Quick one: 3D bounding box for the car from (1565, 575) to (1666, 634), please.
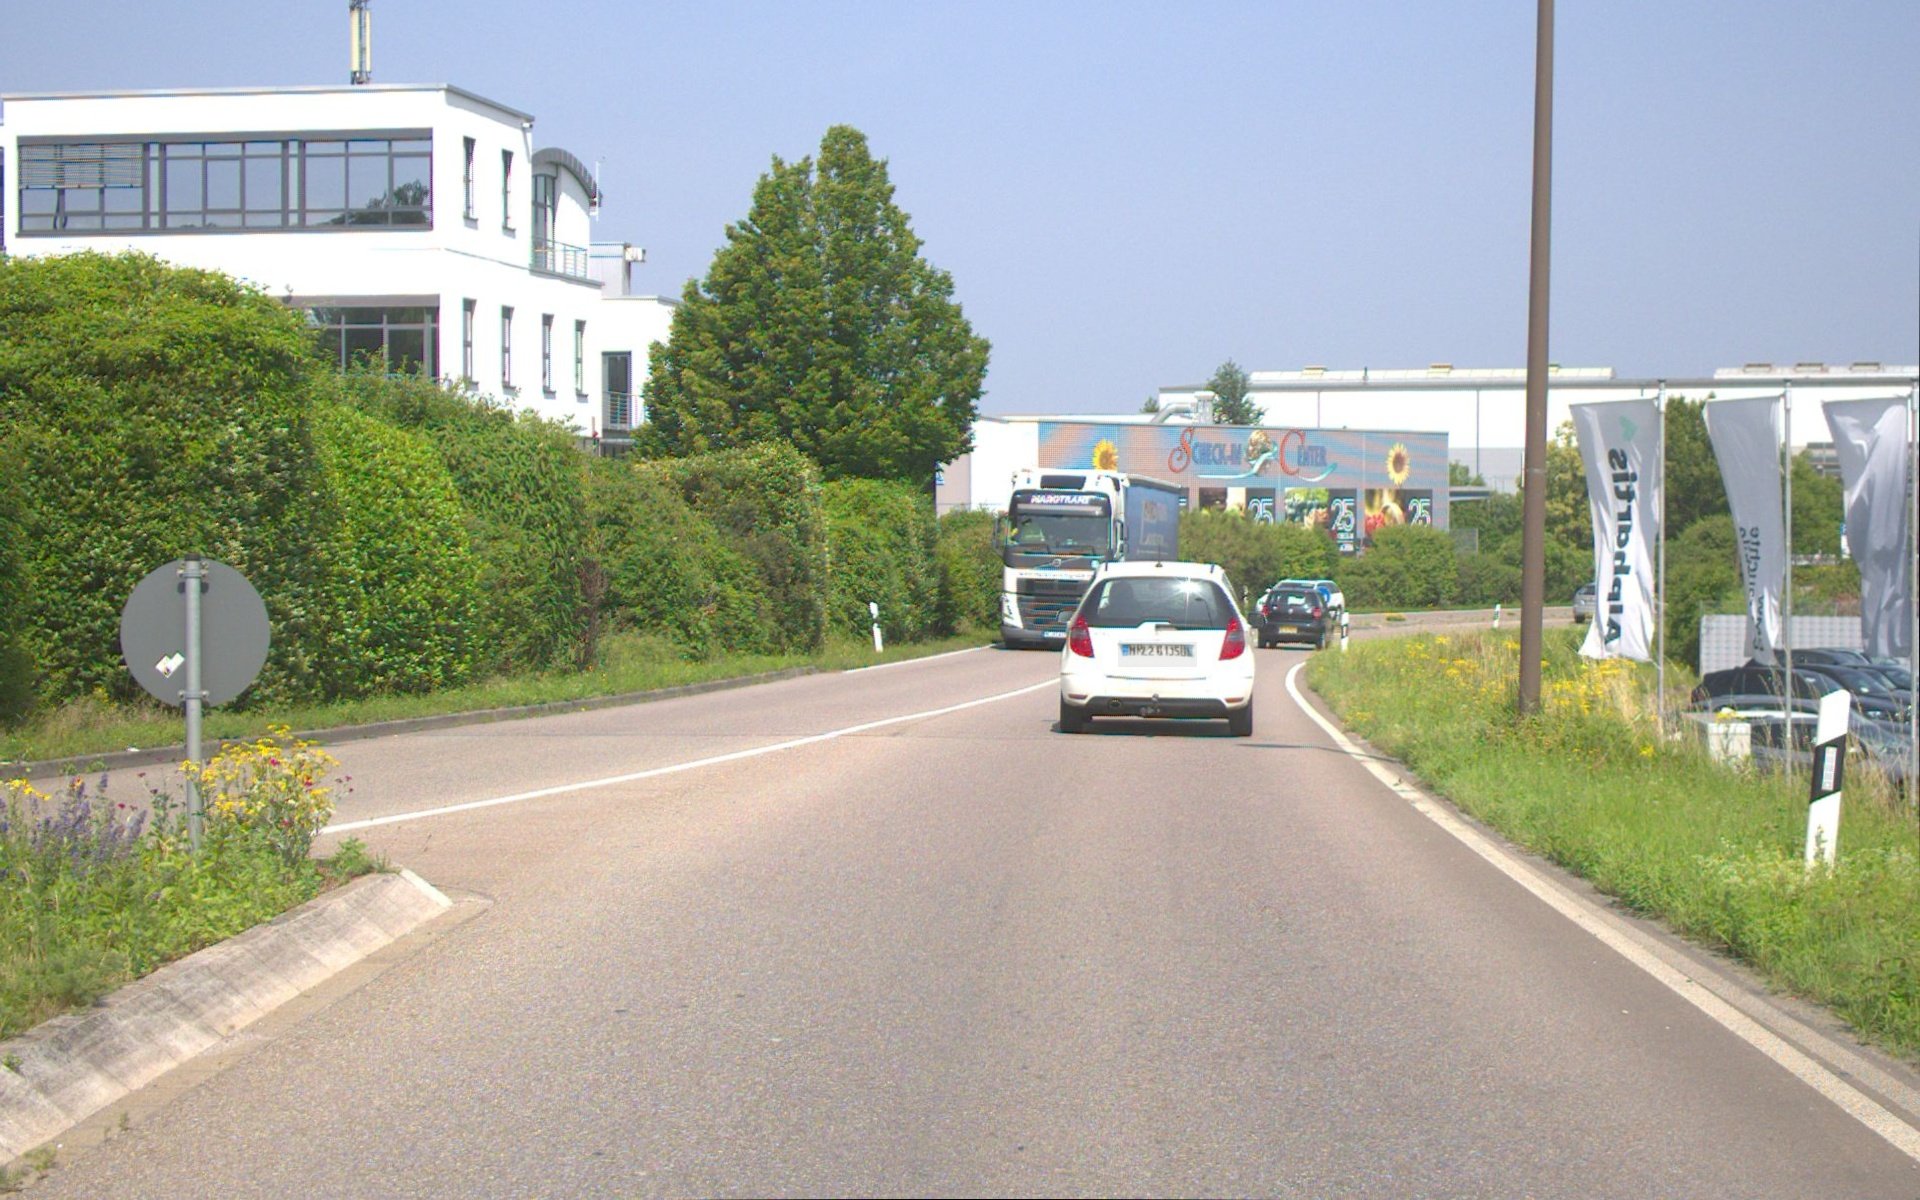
[{"bbox_3d":[23.107,0.176,121.140,1.998,2.007,3.992,2,0,35],"label":"car"}]

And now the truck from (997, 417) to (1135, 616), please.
[{"bbox_3d":[2.419,-1.801,76.635,2.513,4.243,6.111,0,0,7],"label":"truck"}]

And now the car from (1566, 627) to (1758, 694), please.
[{"bbox_3d":[18.750,1.595,91.870,4.637,1.599,1.853,2,1,34],"label":"car"}]

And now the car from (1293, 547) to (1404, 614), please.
[{"bbox_3d":[12.028,-0.589,106.340,1.997,2.007,3.993,2,0,29],"label":"car"}]

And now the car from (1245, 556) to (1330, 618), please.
[{"bbox_3d":[8.205,-0.322,85.879,1.829,1.465,4.408,2,0,9],"label":"car"}]

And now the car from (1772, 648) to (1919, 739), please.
[{"bbox_3d":[19.647,1.975,73.118,4.232,1.695,1.914,2,3,42],"label":"car"}]

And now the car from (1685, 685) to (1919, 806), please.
[{"bbox_3d":[12.748,2.083,49.500,4.168,1.518,1.686,2,0,39],"label":"car"}]

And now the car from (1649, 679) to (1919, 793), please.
[{"bbox_3d":[12.960,2.066,53.086,4.167,1.518,1.748,2,0,34],"label":"car"}]

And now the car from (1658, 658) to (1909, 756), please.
[{"bbox_3d":[16.858,2.157,70.466,4.639,1.695,1.852,2,3,39],"label":"car"}]

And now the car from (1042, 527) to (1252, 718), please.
[{"bbox_3d":[1.811,0.169,32.352,1.781,1.598,3.892,3,1,5],"label":"car"}]

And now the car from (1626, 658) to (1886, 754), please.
[{"bbox_3d":[14.391,1.893,62.255,4.167,1.518,1.853,2,0,34],"label":"car"}]
